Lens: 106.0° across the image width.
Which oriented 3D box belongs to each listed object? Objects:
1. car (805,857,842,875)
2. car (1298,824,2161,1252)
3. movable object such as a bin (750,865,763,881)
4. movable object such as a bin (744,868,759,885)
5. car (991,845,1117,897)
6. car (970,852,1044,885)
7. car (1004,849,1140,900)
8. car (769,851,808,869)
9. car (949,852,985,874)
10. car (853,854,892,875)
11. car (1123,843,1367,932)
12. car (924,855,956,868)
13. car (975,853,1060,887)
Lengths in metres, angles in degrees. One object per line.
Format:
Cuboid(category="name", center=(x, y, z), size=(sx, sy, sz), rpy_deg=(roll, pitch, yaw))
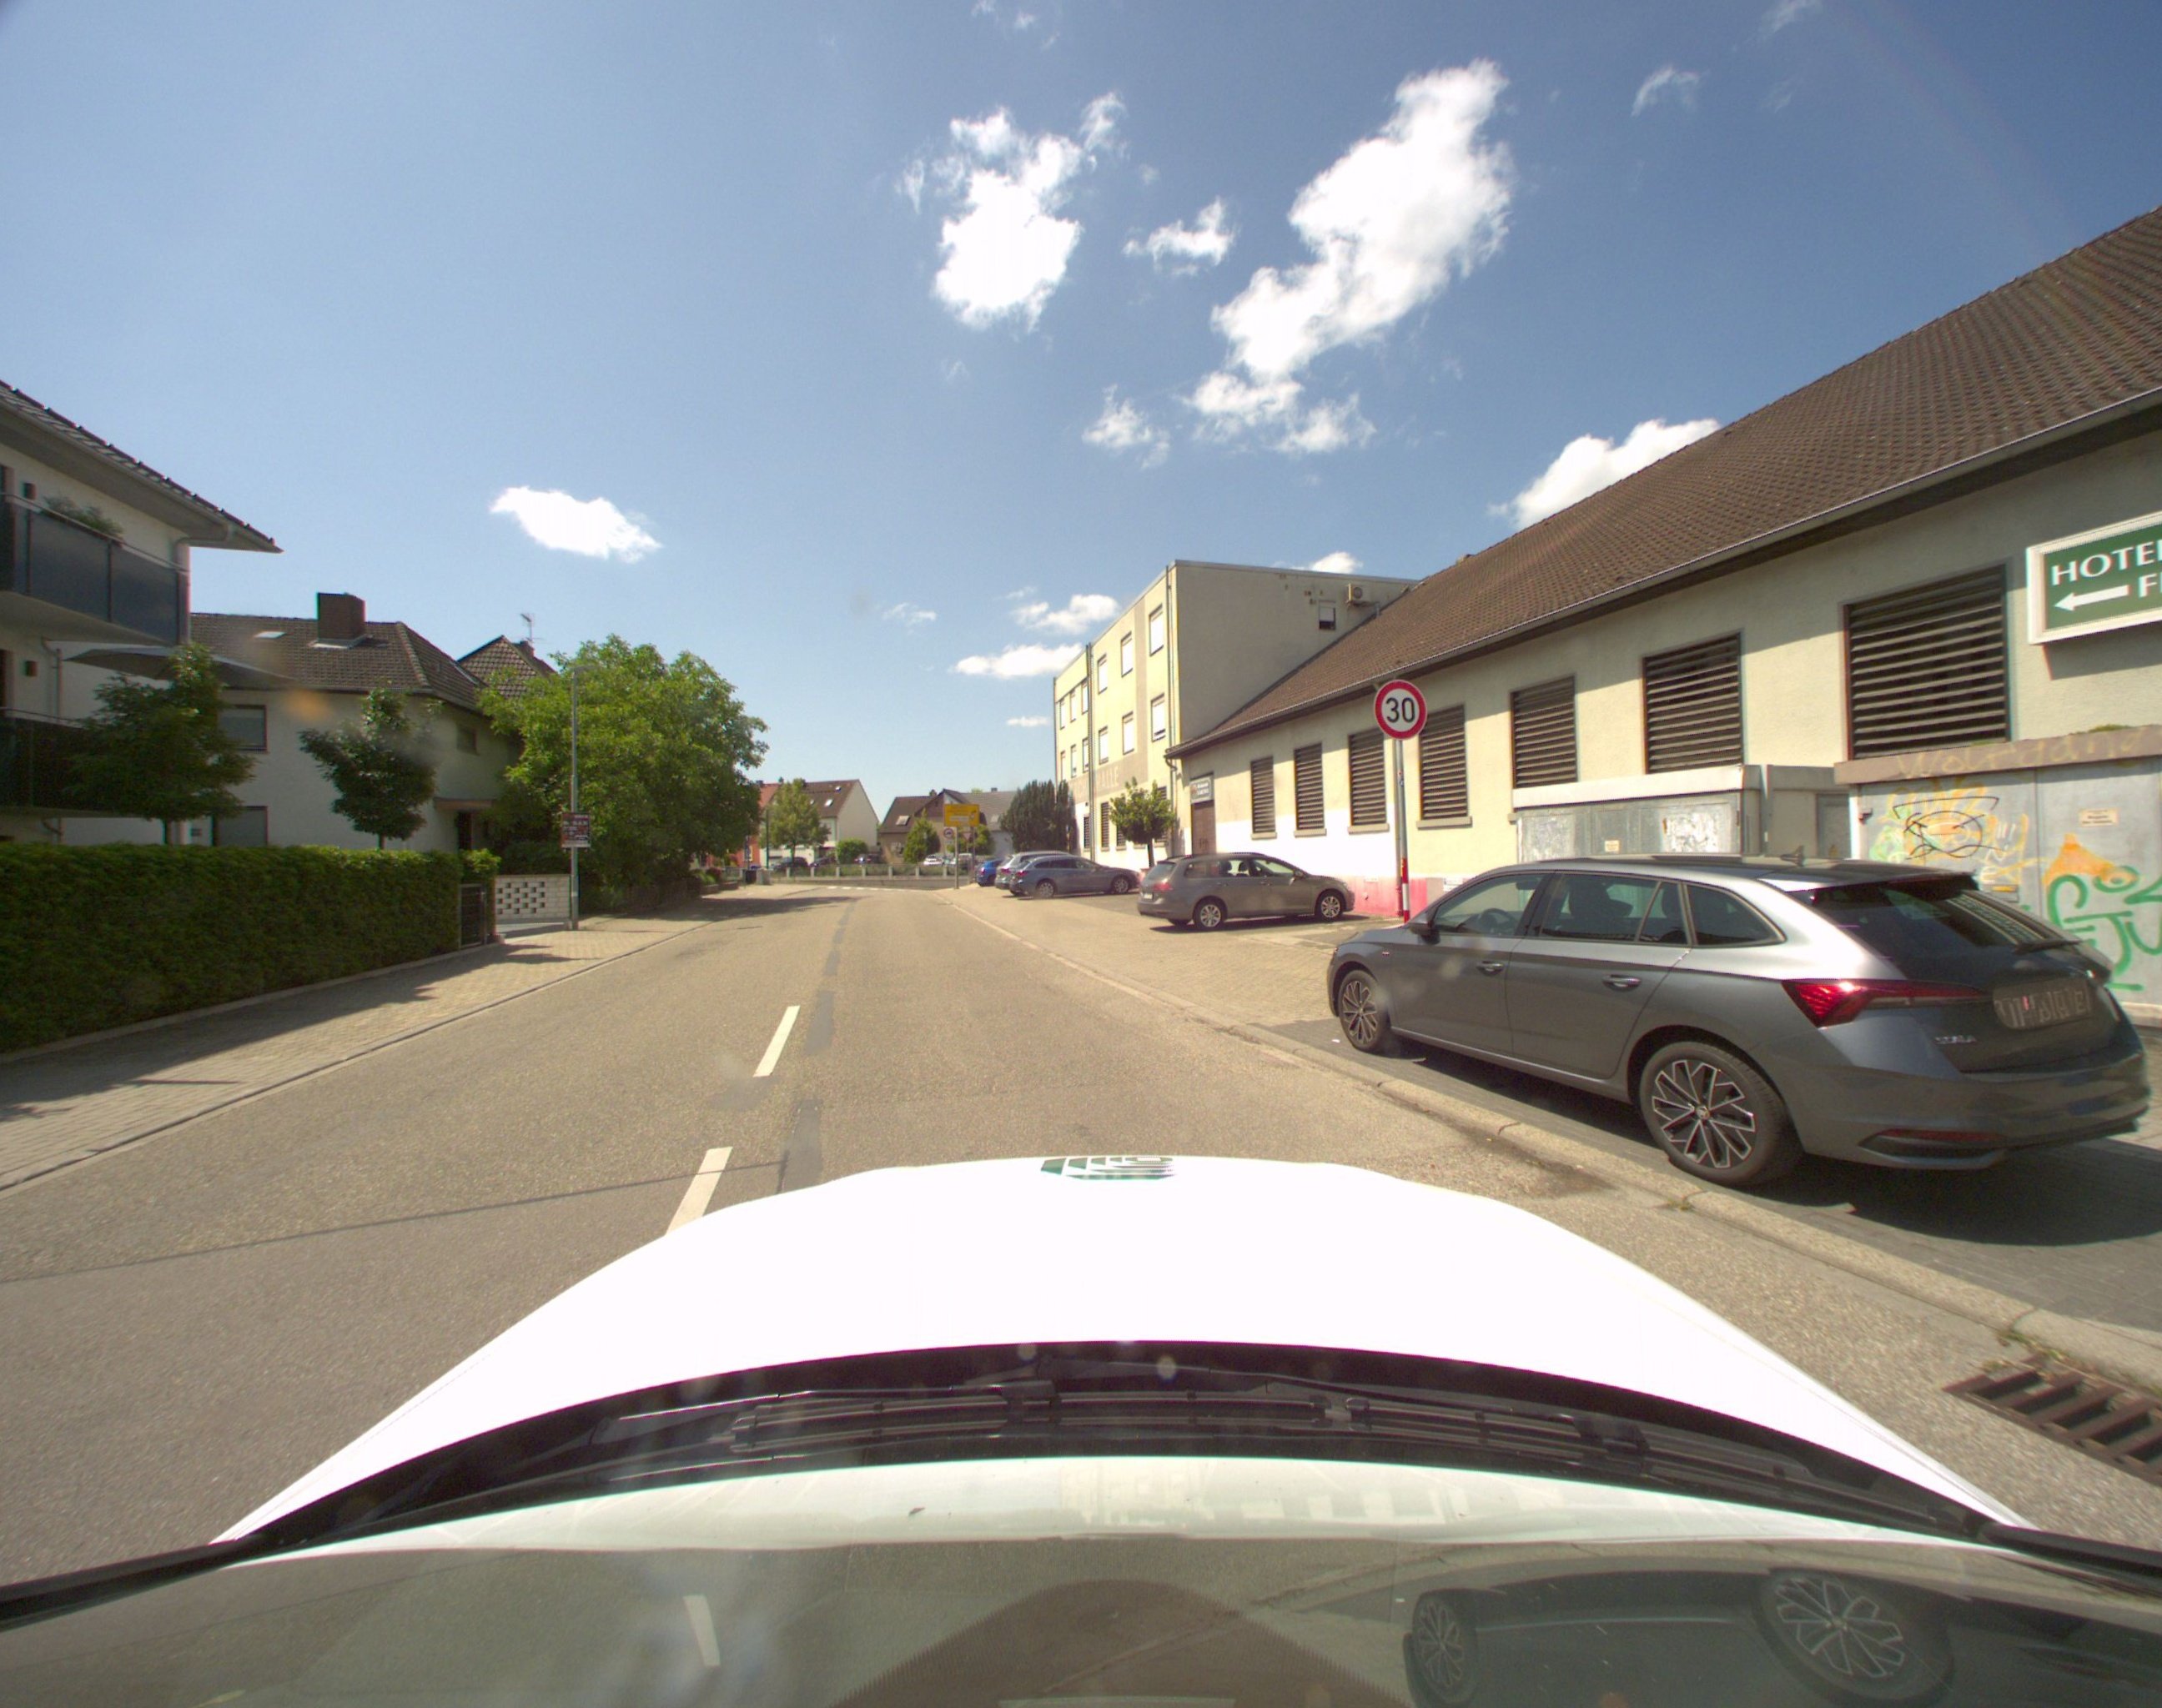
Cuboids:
Cuboid(category="car", center=(-24.965, 1.203, 79.101), size=(1.855, 1.587, 3.620), rpy_deg=(3, -2, 12))
Cuboid(category="car", center=(3.199, 0.659, 5.111), size=(1.631, 1.489, 4.117), rpy_deg=(-2, 0, -16))
Cuboid(category="movable object such as a bin", center=(-24.719, 1.431, 61.993), size=(0.844, 1.213, 1.265), rpy_deg=(0, -1, -27))
Cuboid(category="movable object such as a bin", center=(-23.782, 1.636, 58.772), size=(0.886, 1.225, 0.898), rpy_deg=(0, -1, -13))
Cuboid(category="car", center=(-1.068, 0.633, 31.617), size=(4.464, 1.697, 1.911), rpy_deg=(-3, 0, -17))
Cuboid(category="car", center=(-4.376, 0.848, 47.908), size=(3.905, 1.490, 1.799), rpy_deg=(-7, 0, -17))
Cuboid(category="car", center=(-0.349, 0.698, 29.468), size=(4.510, 1.519, 1.989), rpy_deg=(-3, 0, -16))
Cuboid(category="car", center=(-28.648, 0.625, 79.831), size=(1.855, 1.587, 3.620), rpy_deg=(3, -2, 12))
Cuboid(category="car", center=(-10.601, 0.871, 76.122), size=(1.980, 1.797, 4.209), rpy_deg=(3, -2, 12))
Cuboid(category="car", center=(-20.034, 1.004, 78.402), size=(1.855, 1.797, 4.012), rpy_deg=(3, -2, 12))
Cuboid(category="car", center=(3.332, 0.632, 16.826), size=(4.535, 1.454, 1.908), rpy_deg=(-3, 0, -15))
Cuboid(category="car", center=(-13.216, 0.739, 76.475), size=(1.813, 1.020, 3.470), rpy_deg=(3, -2, 12))
Cuboid(category="car", center=(-3.519, 0.889, 44.770), size=(4.332, 1.439, 1.770), rpy_deg=(-5, -2, -16))
